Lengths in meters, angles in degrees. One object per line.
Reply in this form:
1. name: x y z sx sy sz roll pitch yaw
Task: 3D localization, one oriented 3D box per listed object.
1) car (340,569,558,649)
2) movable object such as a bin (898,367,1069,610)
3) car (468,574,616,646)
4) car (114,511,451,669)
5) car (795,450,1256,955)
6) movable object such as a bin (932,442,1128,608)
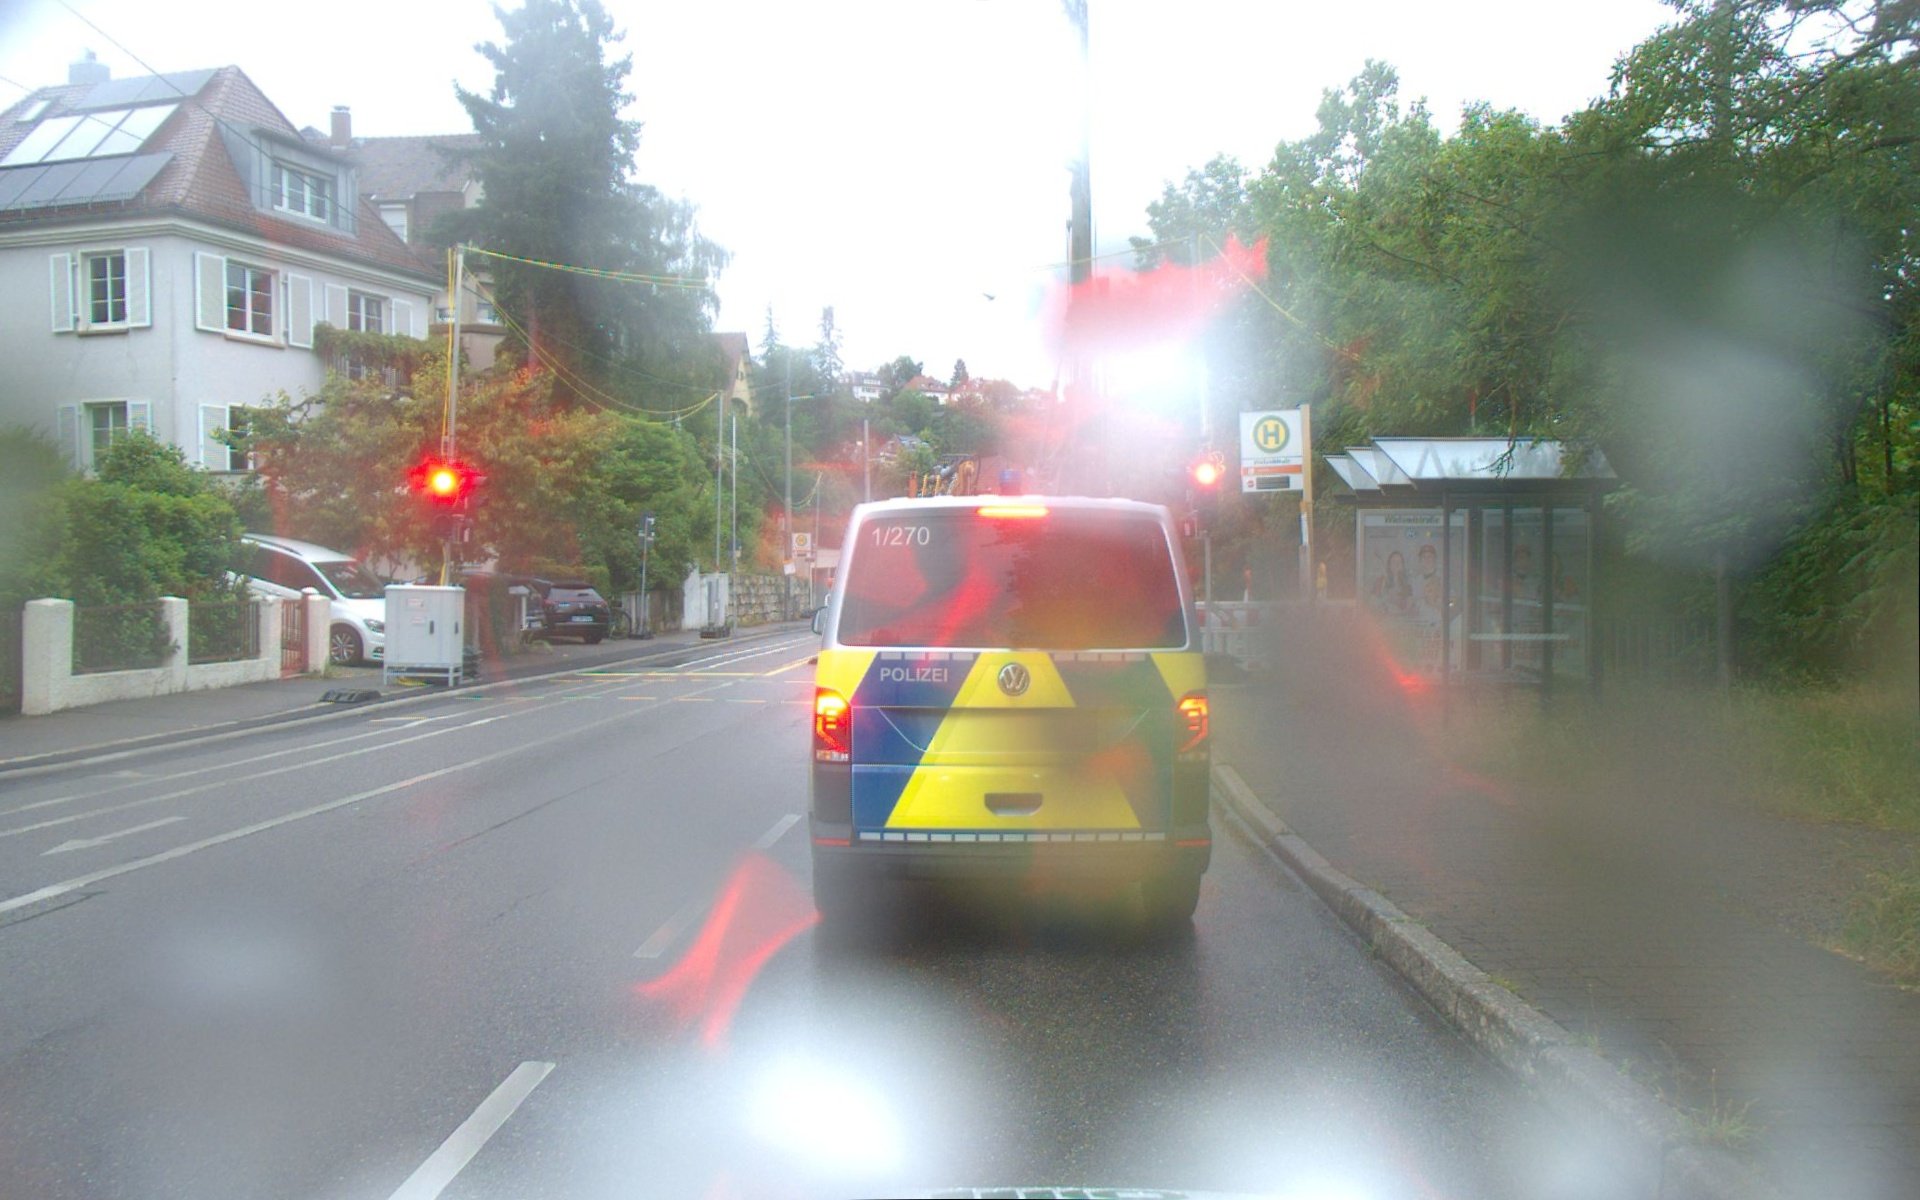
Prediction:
1. car: -10.688 0.183 34.735 3.902 1.552 1.942 1 0 12
2. movable object such as a bin: 0.557 -2.019 31.637 2.817 4.243 4.491 -1 1 6
3. car: -9.571 0.201 37.680 1.769 1.552 3.943 1 0 -39
4. car: -11.209 -0.202 27.441 4.865 1.642 1.865 11 4 13
5. car: 0.241 0.433 9.028 1.869 2.046 4.438 1 0 -1
6. movable object such as a bin: 2.482 -2.373 55.922 3.615 5.155 7.147 -1 -1 31
